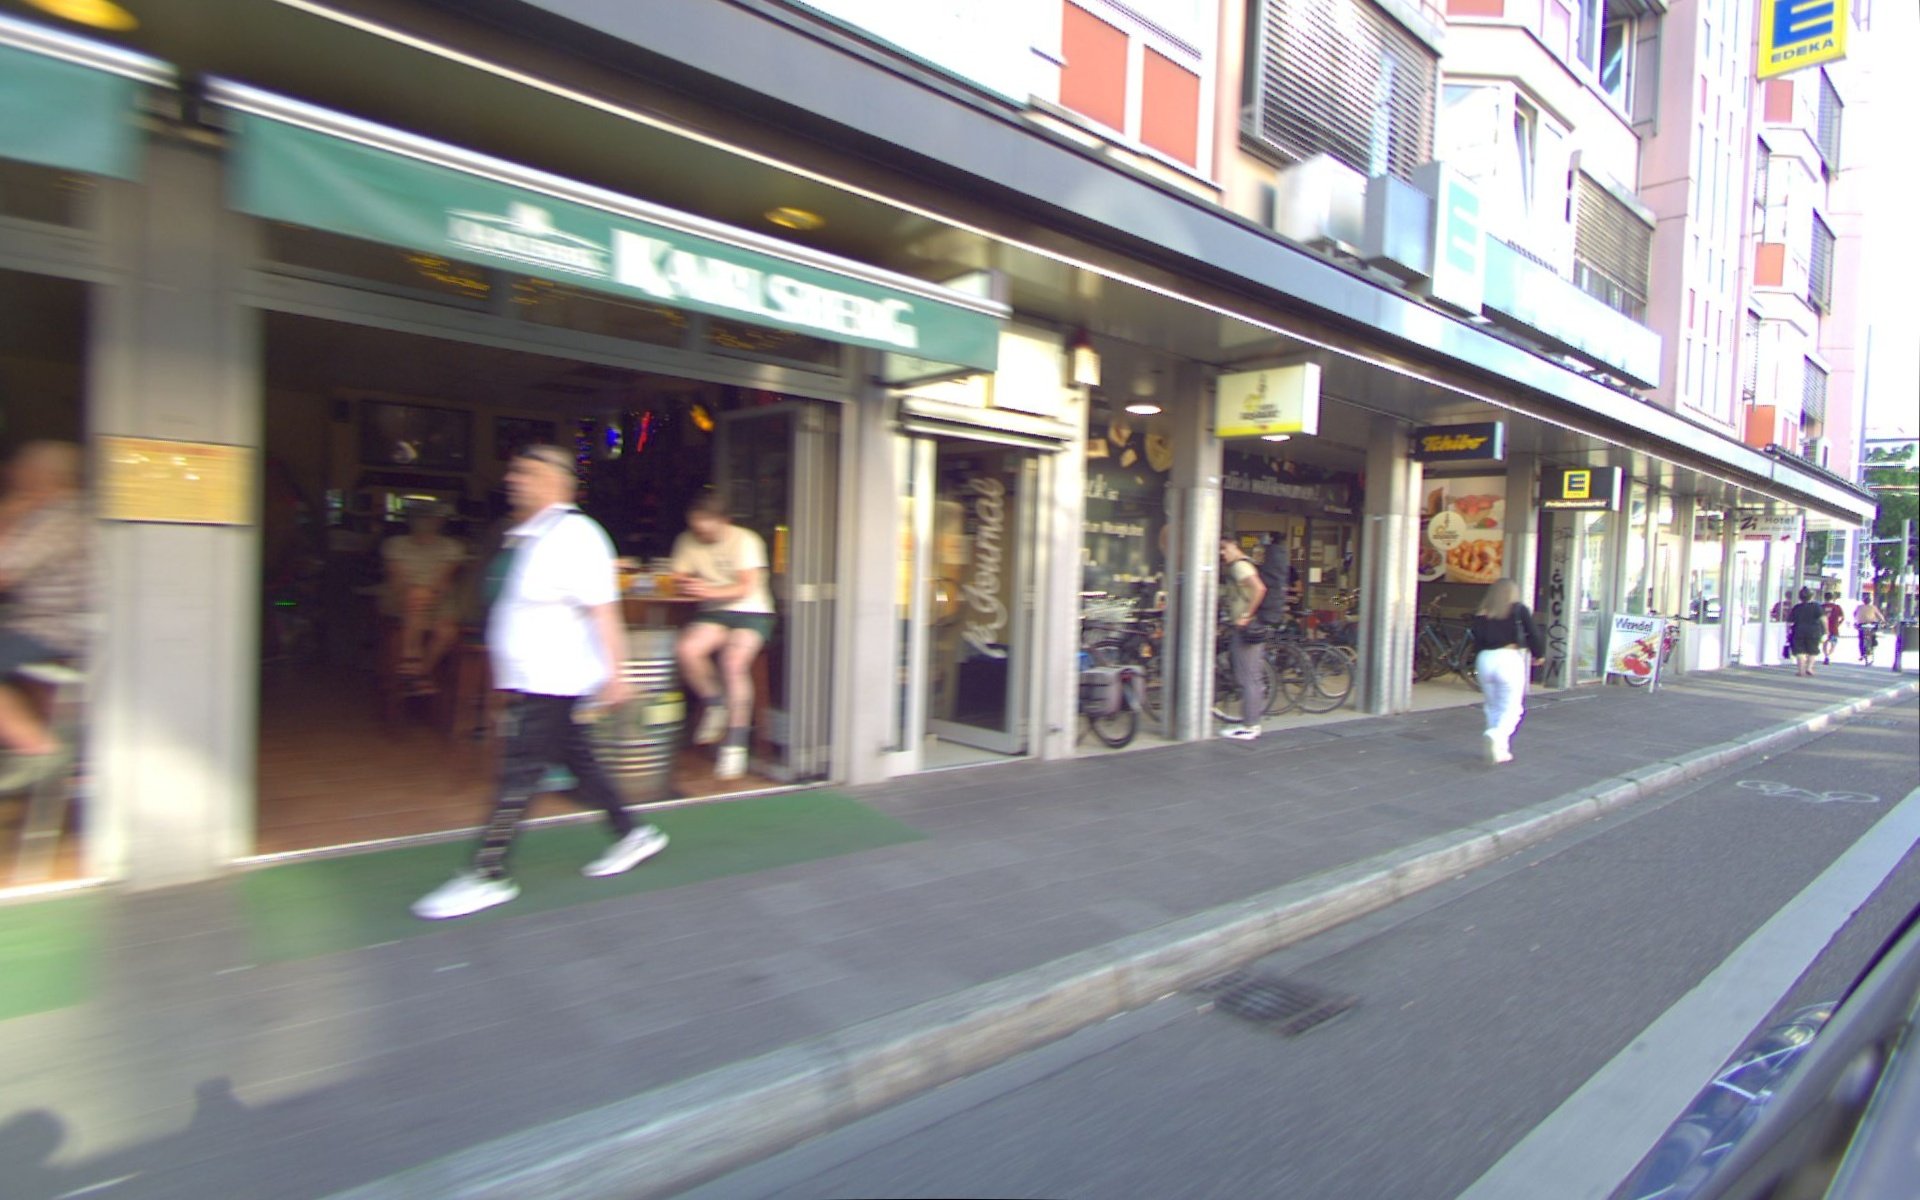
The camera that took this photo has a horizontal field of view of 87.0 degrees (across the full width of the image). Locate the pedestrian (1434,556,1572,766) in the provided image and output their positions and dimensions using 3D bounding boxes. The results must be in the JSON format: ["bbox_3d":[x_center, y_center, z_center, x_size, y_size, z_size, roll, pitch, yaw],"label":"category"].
[{"bbox_3d":[4.348,0.452,8.105,0.776,1.539,0.666,0,4,-44],"label":"pedestrian"}]

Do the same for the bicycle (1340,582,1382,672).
[{"bbox_3d":[5.796,0.354,14.596,0.418,1.214,1.469,3,2,25],"label":"bicycle"}]

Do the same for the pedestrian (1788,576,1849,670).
[{"bbox_3d":[15.476,0.393,18.245,0.486,1.633,0.708,0,3,-40],"label":"pedestrian"}]

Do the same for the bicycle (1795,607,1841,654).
[{"bbox_3d":[22.996,0.804,27.156,0.478,1.187,1.744,1,1,25],"label":"bicycle"}]

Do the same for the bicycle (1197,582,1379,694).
[{"bbox_3d":[3.874,0.441,11.949,2.040,1.252,0.558,1,1,-16],"label":"bicycle"}]

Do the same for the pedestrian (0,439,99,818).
[{"bbox_3d":[-4.266,0.113,4.549,0.531,1.627,0.522,1,1,-35],"label":"pedestrian"}]

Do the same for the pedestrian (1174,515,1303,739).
[{"bbox_3d":[2.329,0.195,8.455,0.783,1.742,0.585,6,3,32],"label":"pedestrian"}]

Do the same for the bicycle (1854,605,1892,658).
[{"bbox_3d":[22.483,0.754,24.937,0.427,1.229,1.802,1,1,34],"label":"bicycle"}]

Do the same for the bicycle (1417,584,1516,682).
[{"bbox_3d":[6.887,0.414,13.844,0.473,1.214,1.483,2,2,-4],"label":"bicycle"}]

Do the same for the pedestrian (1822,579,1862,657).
[{"bbox_3d":[20.642,0.416,23.691,0.668,1.783,0.670,1,0,40],"label":"pedestrian"}]

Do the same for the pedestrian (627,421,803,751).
[{"bbox_3d":[-1.354,-0.092,5.554,0.627,1.655,0.729,1,4,-39],"label":"pedestrian"}]

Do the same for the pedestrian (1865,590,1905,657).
[{"bbox_3d":[22.982,0.563,25.159,0.650,1.627,0.588,1,0,36],"label":"pedestrian"}]

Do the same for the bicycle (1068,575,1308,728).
[{"bbox_3d":[2.008,0.444,8.894,2.040,1.267,0.472,1,1,-16],"label":"bicycle"}]

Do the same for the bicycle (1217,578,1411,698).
[{"bbox_3d":[3.903,0.418,11.162,2.040,1.252,0.558,1,1,-16],"label":"bicycle"}]

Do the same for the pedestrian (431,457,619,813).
[{"bbox_3d":[-2.299,0.147,5.322,0.683,1.695,0.775,1,3,-39],"label":"pedestrian"}]

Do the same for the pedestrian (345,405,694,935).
[{"bbox_3d":[-1.792,0.211,4.095,1.031,1.796,0.909,1,4,-40],"label":"pedestrian"}]

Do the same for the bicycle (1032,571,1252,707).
[{"bbox_3d":[1.794,0.369,9.968,2.071,1.269,0.578,1,0,-16],"label":"bicycle"}]

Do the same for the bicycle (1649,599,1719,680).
[{"bbox_3d":[10.809,0.568,15.093,1.382,1.141,0.516,1,2,-42],"label":"bicycle"}]

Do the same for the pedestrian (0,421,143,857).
[{"bbox_3d":[-3.687,0.140,4.112,0.512,1.653,0.518,1,1,-35],"label":"pedestrian"}]

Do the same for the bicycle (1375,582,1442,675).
[{"bbox_3d":[6.353,0.371,14.390,0.415,1.214,1.479,2,2,7],"label":"bicycle"}]

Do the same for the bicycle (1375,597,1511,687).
[{"bbox_3d":[6.237,0.519,13.133,0.427,1.054,1.512,2,1,-42],"label":"bicycle"}]
